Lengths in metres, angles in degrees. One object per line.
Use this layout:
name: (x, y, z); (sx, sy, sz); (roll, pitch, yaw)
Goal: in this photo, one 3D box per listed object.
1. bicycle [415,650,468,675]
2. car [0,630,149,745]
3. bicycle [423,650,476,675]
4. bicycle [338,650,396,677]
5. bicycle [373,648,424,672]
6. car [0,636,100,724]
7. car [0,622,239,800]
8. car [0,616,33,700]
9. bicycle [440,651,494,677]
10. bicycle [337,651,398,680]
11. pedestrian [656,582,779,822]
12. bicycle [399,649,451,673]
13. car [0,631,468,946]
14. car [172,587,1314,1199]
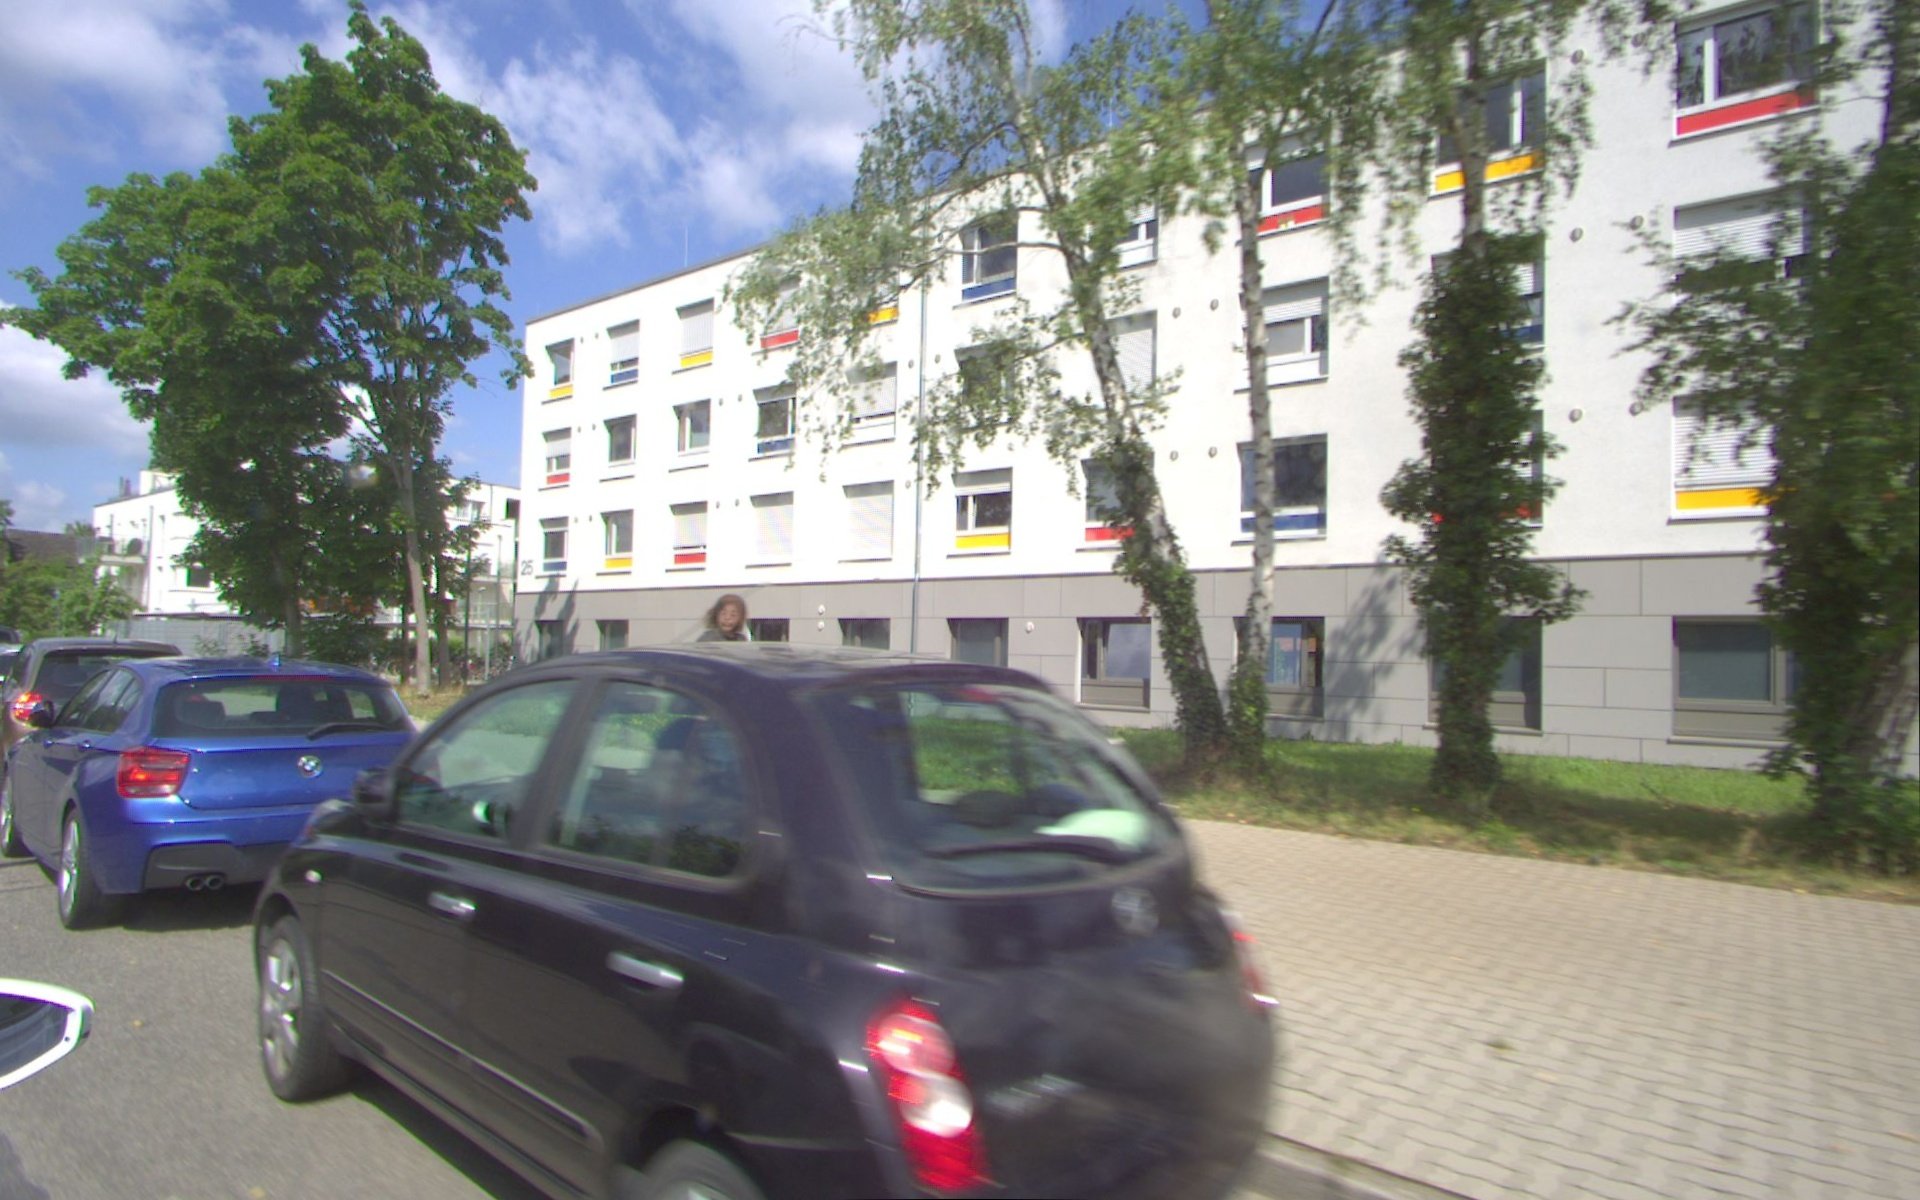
bicycle: (-23.588, 2.817, 45.591); (0.680, 1.093, 2.039); (0, -2, 39)
car: (-13.198, 1.206, 14.437); (3.701, 1.456, 1.657); (-1, -5, 41)
bicycle: (-22.981, 2.806, 45.123); (0.680, 1.093, 2.039); (0, -2, 39)
bicycle: (-25.328, 2.715, 42.801); (0.680, 1.093, 2.039); (0, -2, 39)
bicycle: (-27.063, 2.869, 48.291); (0.680, 1.093, 2.039); (0, -2, 39)
car: (-17.073, 1.389, 18.014); (3.496, 1.452, 1.659); (-1, -5, 37)
car: (-9.188, 1.089, 10.726); (3.599, 1.571, 1.656); (-2, -5, 43)
car: (-22.513, 1.266, 22.623); (3.393, 1.828, 1.867); (-1, -5, 41)
bicycle: (-21.815, 2.801, 44.325); (0.680, 1.093, 2.039); (0, -2, 39)
bicycle: (-24.498, 2.690, 41.443); (0.617, 1.133, 2.080); (0, -2, 40)
pedestrian: (-1.904, 0.781, 7.842); (0.606, 1.766, 0.716); (5, -4, -40)
bicycle: (-25.006, 2.856, 46.853); (0.680, 1.093, 2.039); (0, -2, 39)
car: (-5.053, 0.981, 6.668); (4.159, 1.457, 1.657); (-1, -5, 41)
car: (-1.085, 0.849, 3.348); (3.954, 1.524, 1.657); (-1, -5, 41)
